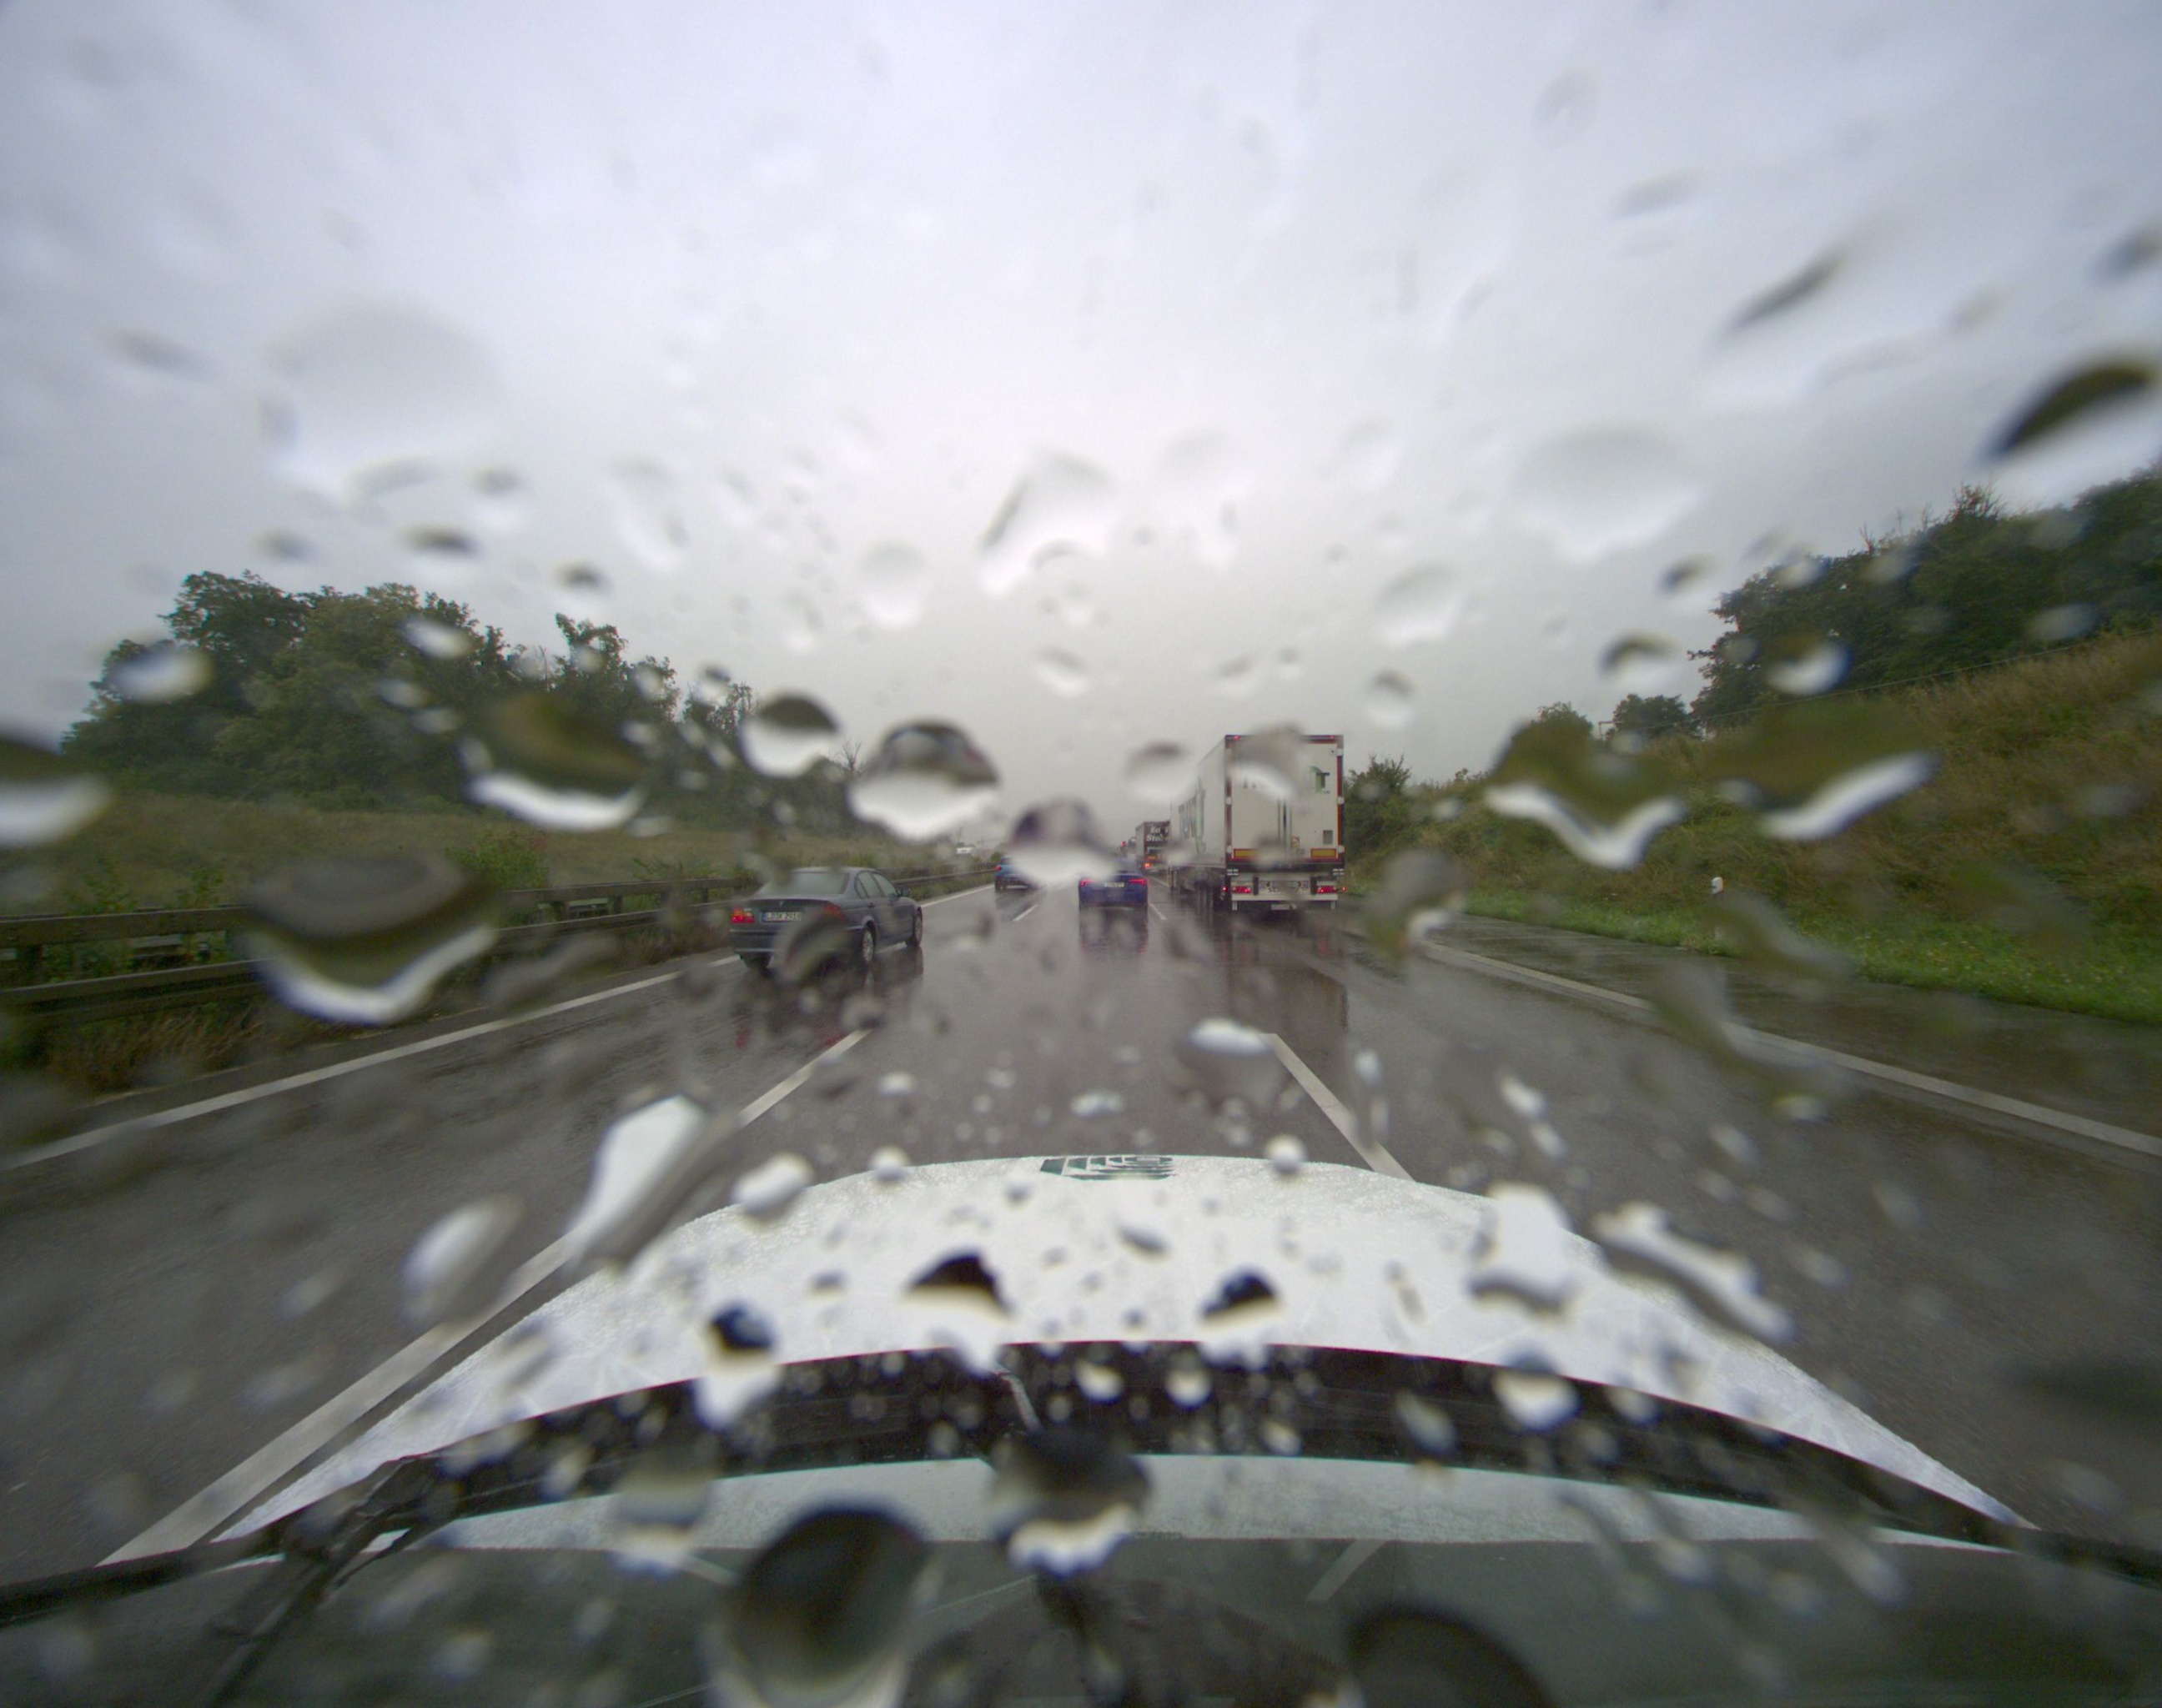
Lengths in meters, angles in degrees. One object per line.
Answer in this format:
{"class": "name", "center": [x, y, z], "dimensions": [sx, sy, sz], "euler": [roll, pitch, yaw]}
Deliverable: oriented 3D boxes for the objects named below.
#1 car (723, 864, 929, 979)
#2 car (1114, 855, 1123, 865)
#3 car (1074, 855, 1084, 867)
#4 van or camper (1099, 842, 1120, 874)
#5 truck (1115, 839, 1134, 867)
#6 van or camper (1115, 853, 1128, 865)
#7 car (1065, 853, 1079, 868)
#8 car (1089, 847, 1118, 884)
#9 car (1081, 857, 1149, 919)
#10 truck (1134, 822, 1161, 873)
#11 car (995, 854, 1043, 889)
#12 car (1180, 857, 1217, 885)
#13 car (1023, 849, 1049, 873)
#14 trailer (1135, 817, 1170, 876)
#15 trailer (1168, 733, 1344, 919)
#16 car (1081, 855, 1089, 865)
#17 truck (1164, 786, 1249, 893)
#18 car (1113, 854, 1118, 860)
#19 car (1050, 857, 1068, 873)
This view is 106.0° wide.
{"class": "car", "center": [-3.657, 0.887, 12.522], "dimensions": [1.711, 1.400, 4.231], "euler": [-1, 0, 2]}
{"class": "car", "center": [7.030, 1.086, 152.898], "dimensions": [1.443, 1.784, 3.410], "euler": [0, -1, 2]}
{"class": "car", "center": [-0.333, 1.073, 124.364], "dimensions": [1.443, 1.784, 3.410], "euler": [0, -1, 2]}
{"class": "van or camper", "center": [2.539, 0.348, 73.769], "dimensions": [1.791, 2.806, 4.769], "euler": [-1, 0, 2]}
{"class": "truck", "center": [5.535, -0.135, 104.677], "dimensions": [1.987, 3.421, 8.032], "euler": [-1, 0, 0]}
{"class": "van or camper", "center": [5.679, 0.698, 114.420], "dimensions": [1.765, 1.625, 4.485], "euler": [-1, 0, 1]}
{"class": "car", "center": [-0.954, 0.719, 91.991], "dimensions": [1.434, 1.533, 3.323], "euler": [-1, 0, 2]}
{"class": "car", "center": [1.108, 0.543, 40.424], "dimensions": [1.332, 1.780, 3.323], "euler": [-1, 0, 2]}
{"class": "car", "center": [0.903, 0.830, 21.650], "dimensions": [1.629, 1.445, 4.002], "euler": [-1, 0, 2]}
{"class": "truck", "center": [5.694, -0.544, 70.238], "dimensions": [2.039, 4.193, 4.001], "euler": [-1, 0, 1]}
{"class": "car", "center": [-2.836, 0.796, 37.955], "dimensions": [1.715, 1.523, 4.003], "euler": [-1, 0, 3]}
{"class": "car", "center": [5.785, 0.802, 40.247], "dimensions": [1.418, 1.288, 3.462], "euler": [-1, 0, 2]}
{"class": "car", "center": [-2.872, 0.436, 52.671], "dimensions": [1.354, 1.431, 3.365], "euler": [-1, 0, 2]}
{"class": "trailer", "center": [5.506, -0.552, 64.456], "dimensions": [2.039, 4.176, 11.452], "euler": [-1, 0, 2]}
{"class": "trailer", "center": [4.582, -0.622, 25.030], "dimensions": [2.620, 4.013, 14.634], "euler": [-1, 0, 2]}
{"class": "car", "center": [0.791, 1.168, 159.098], "dimensions": [1.443, 1.784, 3.410], "euler": [0, -1, 2]}
{"class": "truck", "center": [4.760, -0.530, 31.703], "dimensions": [2.621, 3.827, 4.793], "euler": [-1, 0, 1]}
{"class": "car", "center": [10.281, 0.777, 240.093], "dimensions": [1.443, 1.784, 3.410], "euler": [0, -1, 2]}
{"class": "car", "center": [-1.943, 0.966, 74.140], "dimensions": [1.434, 1.420, 3.323], "euler": [-1, 0, 2]}
